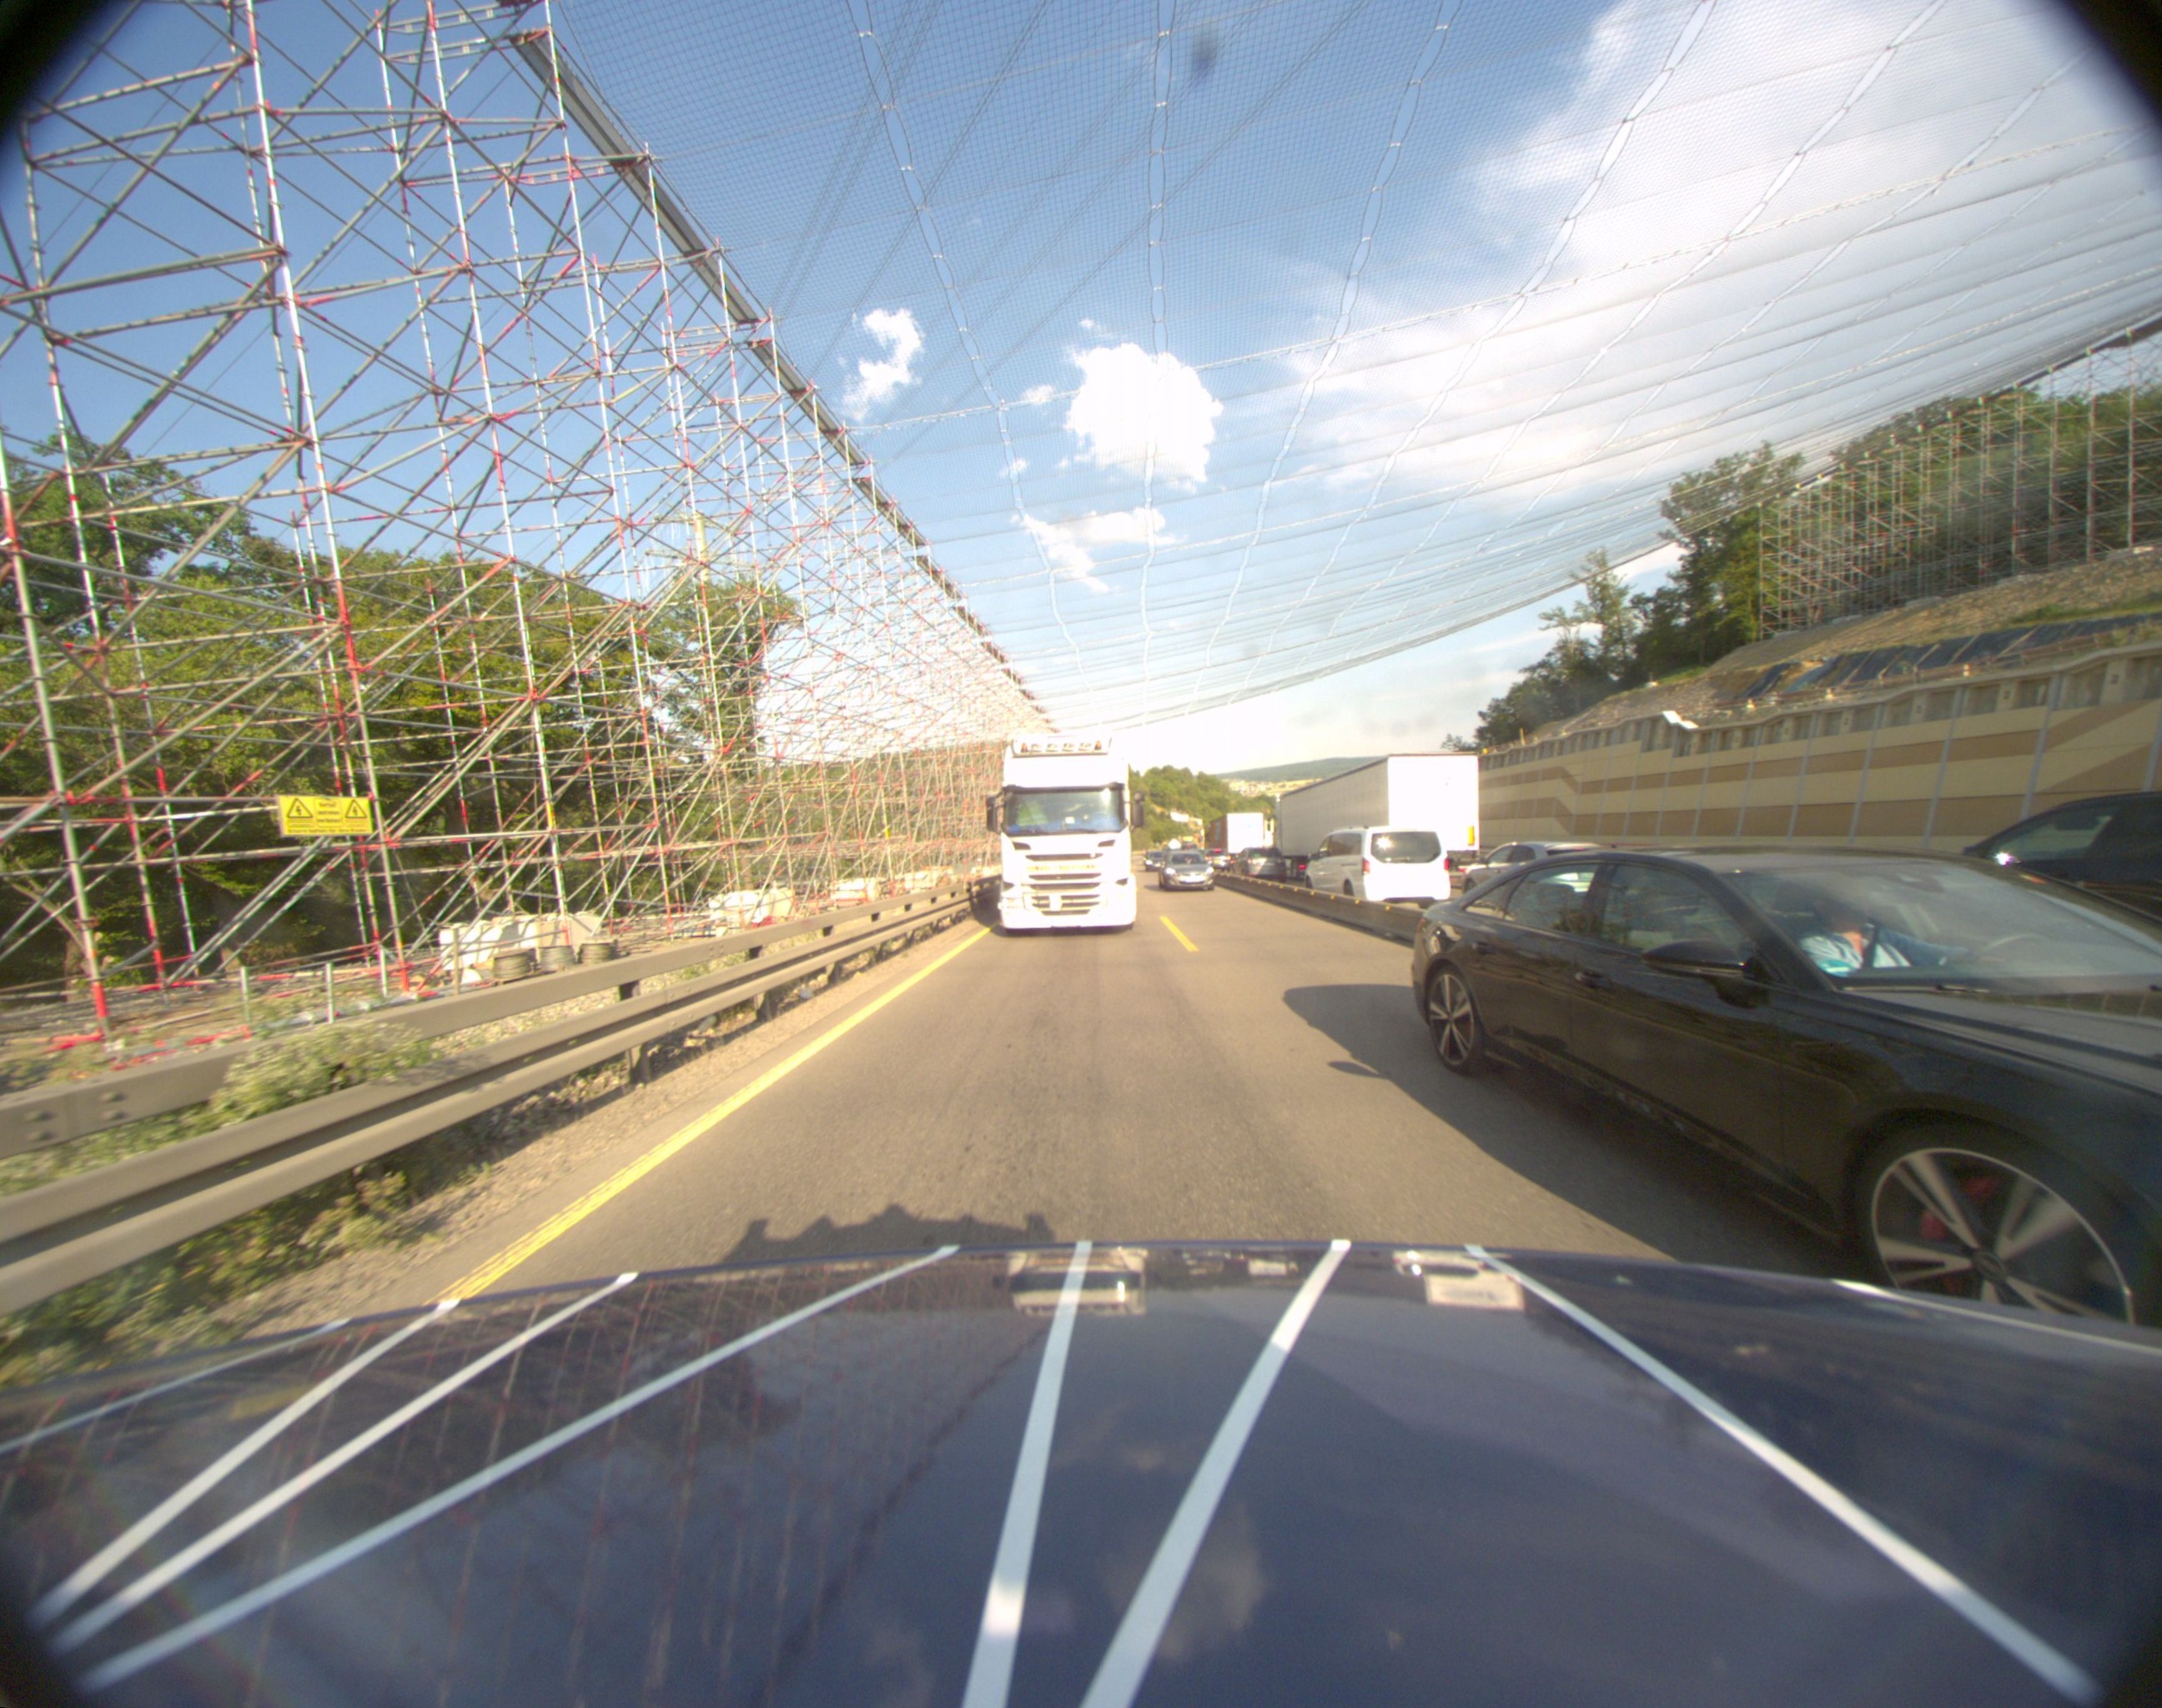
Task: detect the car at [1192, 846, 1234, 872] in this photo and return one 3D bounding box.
[{"bbox_3d":[8.305,0.274,48.215,1.939,1.525,4.645,-2,1,2],"label":"car"}]

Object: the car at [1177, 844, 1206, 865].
[{"bbox_3d":[8.760,-0.022,60.537,1.939,1.510,4.979,-2,1,4],"label":"car"}]

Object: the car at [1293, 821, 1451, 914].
[{"bbox_3d":[6.769,0.252,18.391,1.813,1.858,5.281,-2,1,1],"label":"car"}]

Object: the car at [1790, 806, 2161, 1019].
[{"bbox_3d":[9.622,0.431,6.868,1.828,1.717,4.936,-2,1,1],"label":"car"}]

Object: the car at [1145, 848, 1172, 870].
[{"bbox_3d":[5.383,0.317,53.050,1.764,1.376,3.823,-2,1,5],"label":"car"}]

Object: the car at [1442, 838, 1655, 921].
[{"bbox_3d":[10.125,0.460,17.018,1.796,1.531,4.909,-2,1,1],"label":"car"}]

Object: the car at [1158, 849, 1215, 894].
[{"bbox_3d":[3.854,0.580,28.376,1.759,1.464,4.353,-2,1,4],"label":"car"}]

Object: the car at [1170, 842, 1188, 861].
[{"bbox_3d":[9.841,-0.310,76.257,1.725,1.816,3.294,-2,1,6],"label":"car"}]

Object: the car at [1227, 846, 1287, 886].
[{"bbox_3d":[7.450,0.441,32.491,1.586,1.543,4.218,-2,1,1],"label":"car"}]

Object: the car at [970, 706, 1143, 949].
[{"bbox_3d":[-0.251,-0.495,17.299,2.858,4.092,8.281,-2,1,2],"label":"car"}]

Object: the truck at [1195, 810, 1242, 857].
[{"bbox_3d":[14.739,-2.116,83.006,2.993,4.532,17.409,-2,1,4],"label":"truck"}]

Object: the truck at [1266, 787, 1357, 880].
[{"bbox_3d":[10.615,-0.928,35.625,2.522,3.885,6.048,-2,1,2],"label":"truck"}]

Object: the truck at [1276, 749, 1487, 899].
[{"bbox_3d":[10.445,-0.953,28.886,2.728,4.202,14.167,-2,1,2],"label":"truck"}]

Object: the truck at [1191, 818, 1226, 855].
[{"bbox_3d":[17.212,-2.317,103.989,2.993,4.532,17.409,-2,1,4],"label":"truck"}]

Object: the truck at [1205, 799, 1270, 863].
[{"bbox_3d":[12.824,-1.792,64.193,2.993,4.532,17.409,-2,1,4],"label":"truck"}]

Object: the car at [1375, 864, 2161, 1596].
[{"bbox_3d":[3.227,0.823,3.305,1.939,1.390,4.960,-2,0,0],"label":"car"}]
